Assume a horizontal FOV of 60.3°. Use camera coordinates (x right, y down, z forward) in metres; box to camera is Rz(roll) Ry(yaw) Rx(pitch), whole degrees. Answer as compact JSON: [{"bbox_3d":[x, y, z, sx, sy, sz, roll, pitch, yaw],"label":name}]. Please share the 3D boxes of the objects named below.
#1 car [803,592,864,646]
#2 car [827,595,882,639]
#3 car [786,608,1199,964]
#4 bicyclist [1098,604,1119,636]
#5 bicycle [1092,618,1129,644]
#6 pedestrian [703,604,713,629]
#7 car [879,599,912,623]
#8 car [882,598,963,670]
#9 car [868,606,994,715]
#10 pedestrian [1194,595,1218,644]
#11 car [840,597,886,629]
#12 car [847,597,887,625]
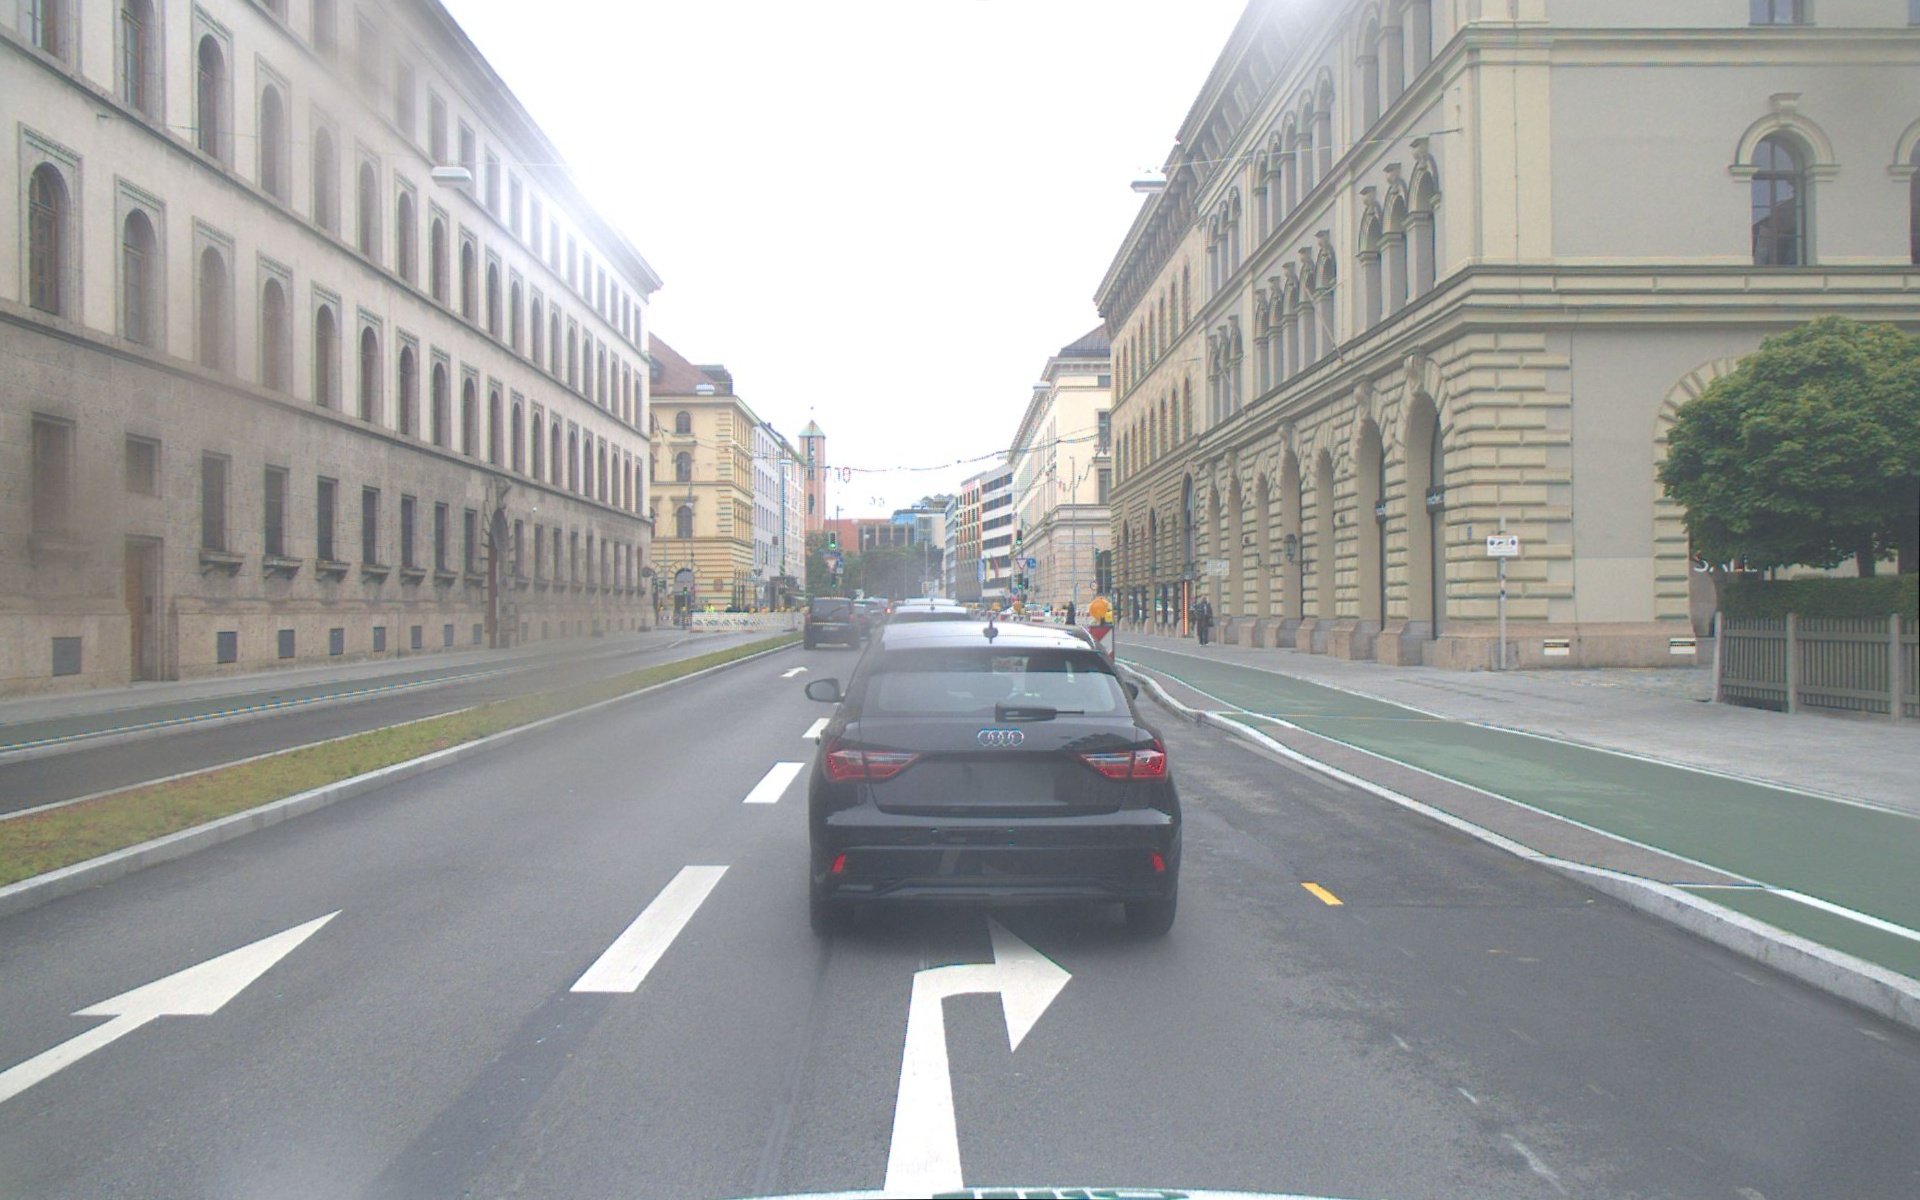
[{"bbox_3d":[-4.019,0.582,53.021,1.729,1.644,4.029,1,0,-1],"label":"car"},{"bbox_3d":[-4.159,0.650,65.606,1.953,1.656,3.999,0,0,-1],"label":"car"},{"bbox_3d":[0.099,0.780,8.852,1.695,1.427,3.999,1,0,-1],"label":"car"},{"bbox_3d":[7.142,0.969,79.409,0.702,1.526,0.747,0,0,-28],"label":"bicyclist"},{"bbox_3d":[7.193,1.471,79.310,0.720,1.176,2.152,0,0,-28],"label":"bicycle"},{"bbox_3d":[-18.636,1.203,122.383,0.642,1.836,0.727,0,0,-2],"label":"pedestrian"},{"bbox_3d":[-3.962,0.653,102.405,1.953,1.469,3.999,0,0,-1],"label":"car"},{"bbox_3d":[-0.829,0.721,37.063,1.695,1.486,3.999,1,0,-1],"label":"car"},{"bbox_3d":[-0.430,0.822,24.400,1.695,1.427,3.999,1,0,-1],"label":"car"},{"bbox_3d":[8.356,0.648,56.160,0.695,1.646,0.754,0,0,-2],"label":"pedestrian"},{"bbox_3d":[-4.500,0.586,76.974,1.953,1.469,3.999,0,0,-1],"label":"car"},{"bbox_3d":[-4.933,0.575,88.601,1.953,1.469,3.999,0,0,-1],"label":"car"}]
